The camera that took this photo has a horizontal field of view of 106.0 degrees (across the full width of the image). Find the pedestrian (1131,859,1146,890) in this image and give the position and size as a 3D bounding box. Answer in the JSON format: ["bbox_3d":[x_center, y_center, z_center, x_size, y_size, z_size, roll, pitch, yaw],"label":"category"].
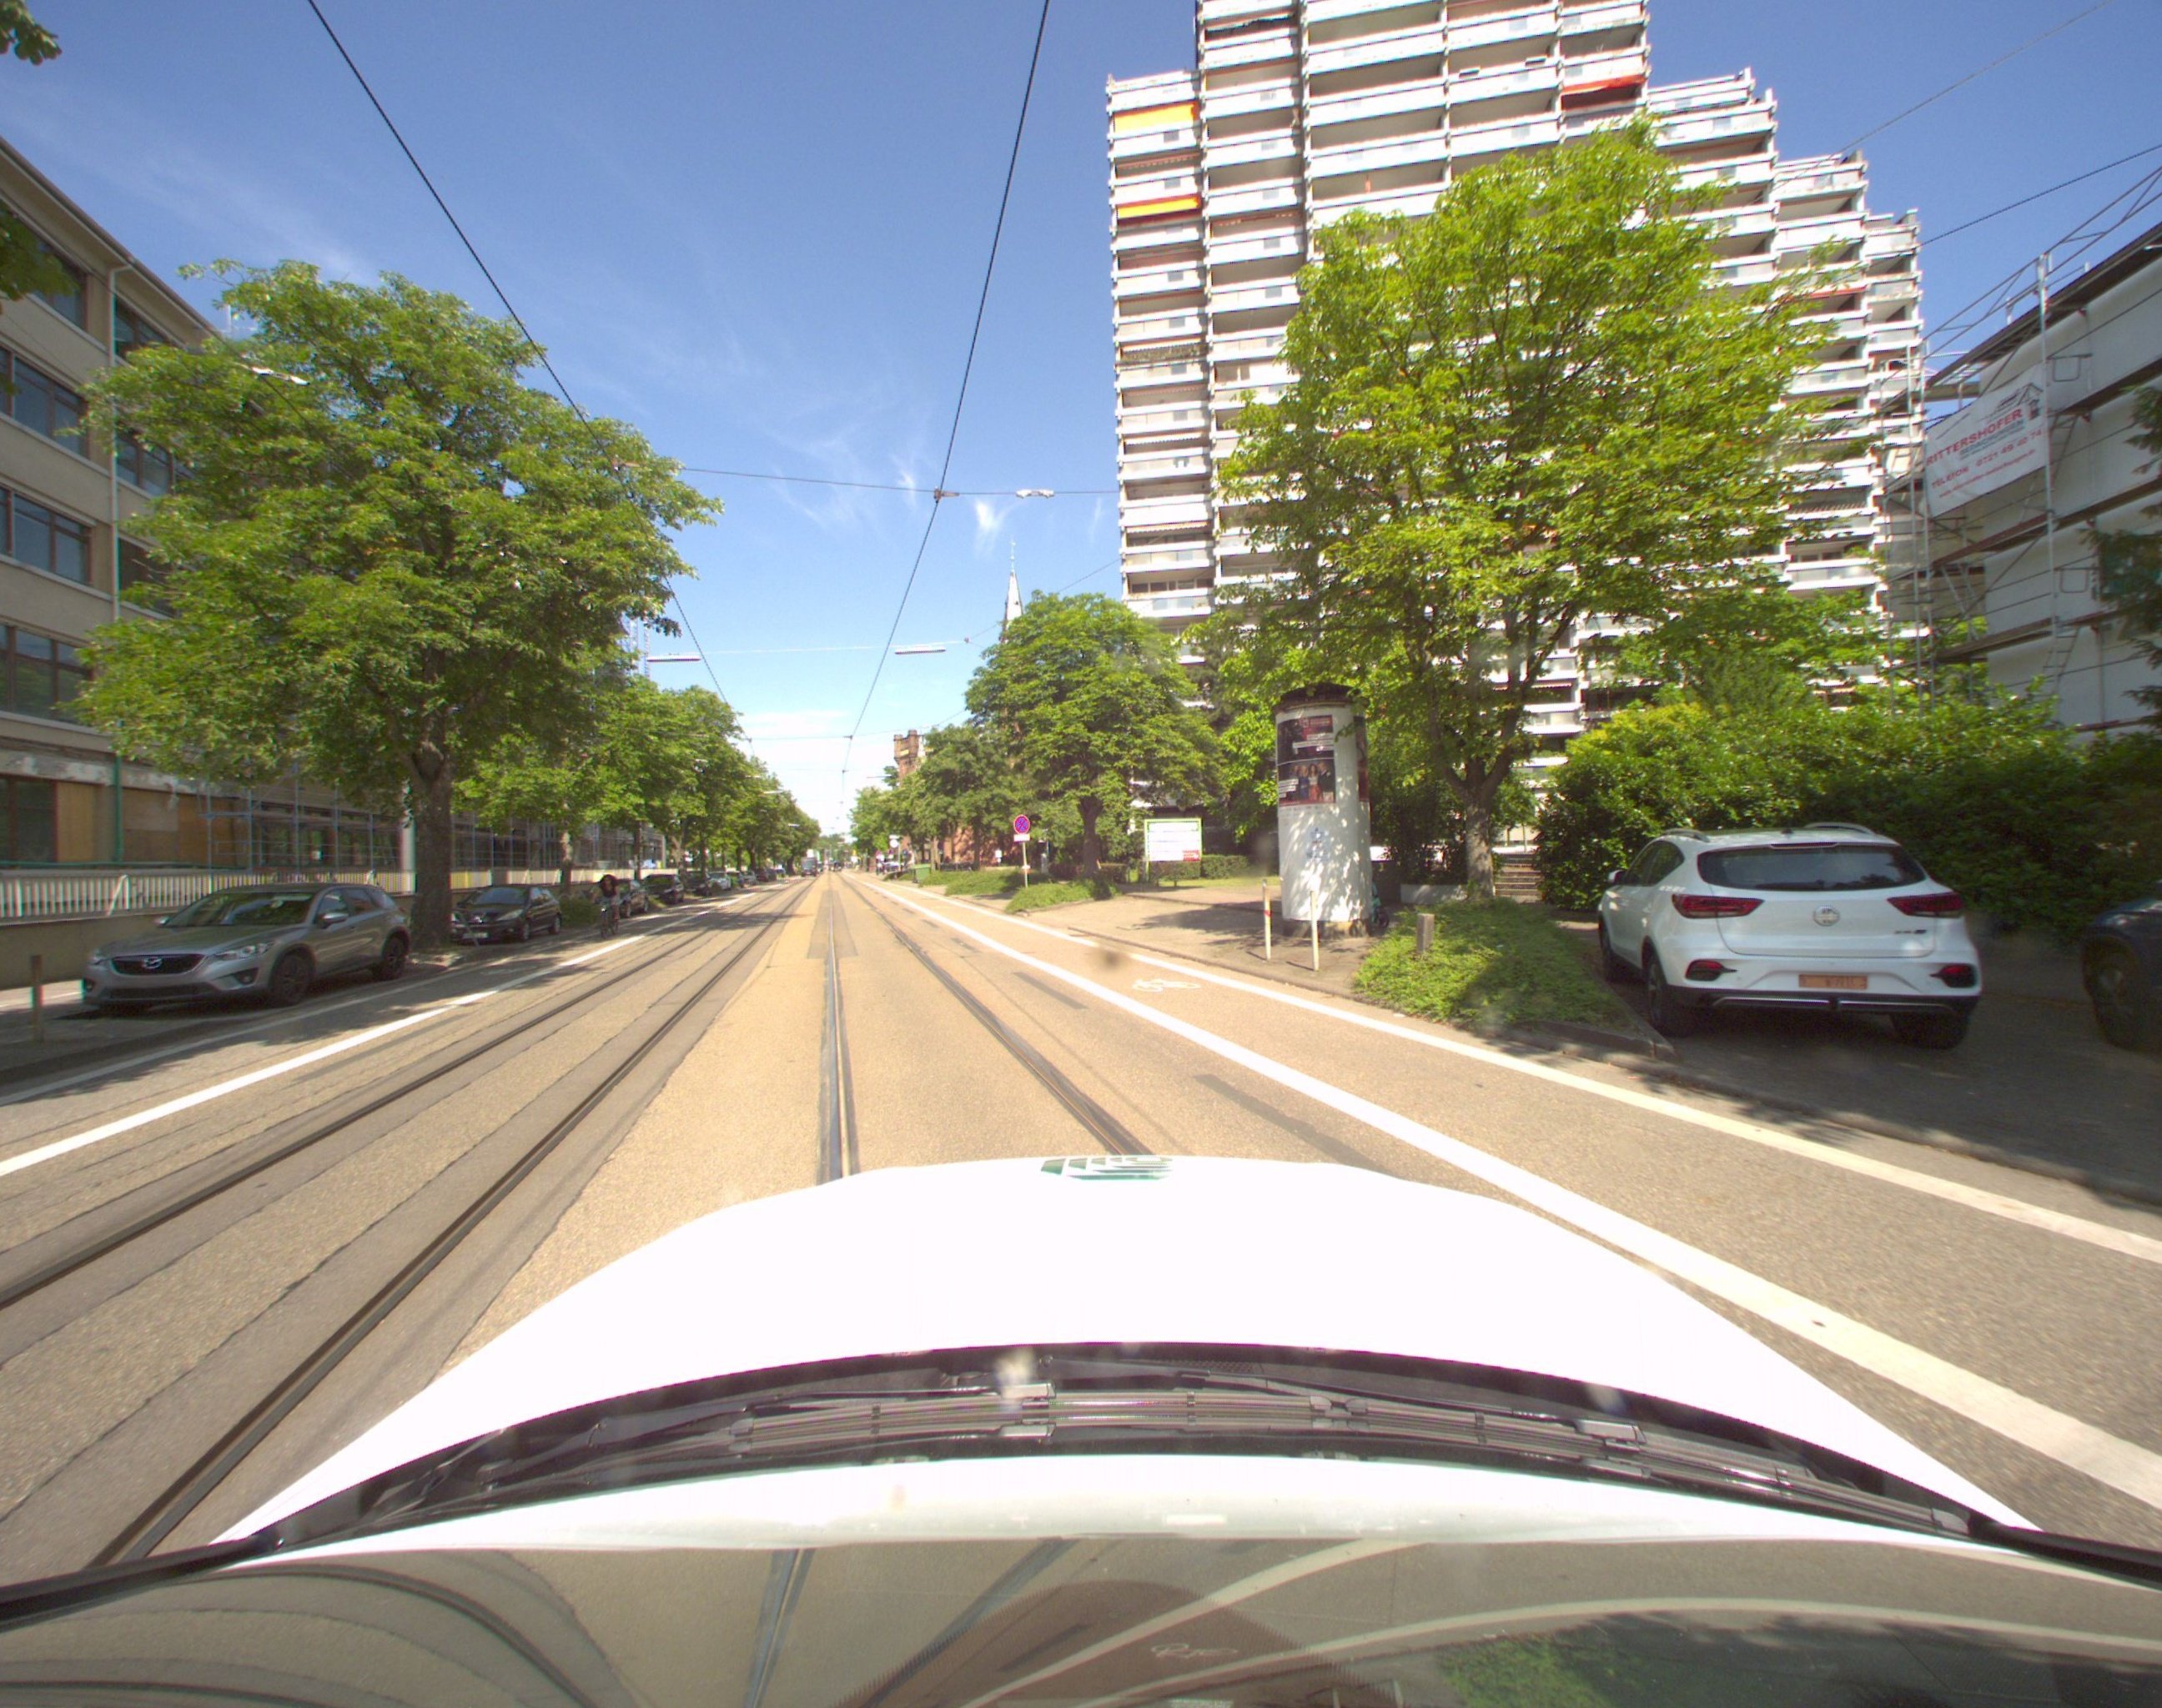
[{"bbox_3d":[2.272,0.801,31.997,0.530,1.154,0.702,-2,-1,4],"label":"pedestrian"}]

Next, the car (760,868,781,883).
[{"bbox_3d":[-35.964,2.451,94.313,1.999,1.640,3.976,-1,0,-18],"label":"car"}]

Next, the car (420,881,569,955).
[{"bbox_3d":[-14.863,1.540,20.929,1.820,1.453,3.976,-7,1,-18],"label":"car"}]

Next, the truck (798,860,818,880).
[{"bbox_3d":[-41.006,2.351,122.452,2.565,2.938,5.049,-1,-1,-17],"label":"truck"}]

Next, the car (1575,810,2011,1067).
[{"bbox_3d":[5.764,0.566,7.262,1.797,1.606,3.968,-4,-1,25],"label":"car"}]

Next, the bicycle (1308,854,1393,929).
[{"bbox_3d":[4.979,0.667,15.120,0.547,1.308,1.608,-1,-1,-23],"label":"bicycle"}]

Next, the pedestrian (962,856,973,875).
[{"bbox_3d":[-10.750,1.080,77.157,1.056,1.798,1.261,0,-1,-9],"label":"pedestrian"}]

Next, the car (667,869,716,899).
[{"bbox_3d":[-23.868,1.801,50.053,1.997,1.640,3.979,-1,0,-15],"label":"car"}]

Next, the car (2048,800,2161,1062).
[{"bbox_3d":[7.088,0.474,4.016,1.758,1.622,3.971,-3,0,31],"label":"car"}]

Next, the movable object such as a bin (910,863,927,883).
[{"bbox_3d":[-12.534,1.448,62.772,1.263,1.453,1.075,-1,0,-12],"label":"movable object such as a bin"}]

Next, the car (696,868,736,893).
[{"bbox_3d":[-26.924,1.919,60.113,1.997,1.640,3.979,-3,0,-15],"label":"car"}]

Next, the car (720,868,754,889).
[{"bbox_3d":[-29.145,2.030,69.053,1.997,1.640,3.979,-3,0,-15],"label":"car"}]

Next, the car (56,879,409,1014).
[{"bbox_3d":[-11.968,1.173,11.951,1.820,1.494,4.083,-2,-1,-18],"label":"car"}]

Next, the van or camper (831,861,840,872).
[{"bbox_3d":[-61.229,3.070,203.223,2.050,2.620,5.824,-1,0,-18],"label":"van or camper"}]

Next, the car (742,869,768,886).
[{"bbox_3d":[-32.745,2.318,81.901,1.951,1.640,3.979,-1,0,-15],"label":"car"}]

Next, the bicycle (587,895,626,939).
[{"bbox_3d":[-12.233,1.612,21.024,0.597,1.006,1.477,-1,0,-20],"label":"bicycle"}]

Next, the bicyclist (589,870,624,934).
[{"bbox_3d":[-12.239,1.224,21.007,0.632,1.606,0.697,-1,-1,-20],"label":"bicyclist"}]

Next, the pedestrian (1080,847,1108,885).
[{"bbox_3d":[0.608,0.582,39.581,1.058,1.798,1.258,0,-1,-14],"label":"pedestrian"}]

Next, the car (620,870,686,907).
[{"bbox_3d":[-20.865,1.654,39.849,1.997,1.640,3.979,-1,0,-15],"label":"car"}]
